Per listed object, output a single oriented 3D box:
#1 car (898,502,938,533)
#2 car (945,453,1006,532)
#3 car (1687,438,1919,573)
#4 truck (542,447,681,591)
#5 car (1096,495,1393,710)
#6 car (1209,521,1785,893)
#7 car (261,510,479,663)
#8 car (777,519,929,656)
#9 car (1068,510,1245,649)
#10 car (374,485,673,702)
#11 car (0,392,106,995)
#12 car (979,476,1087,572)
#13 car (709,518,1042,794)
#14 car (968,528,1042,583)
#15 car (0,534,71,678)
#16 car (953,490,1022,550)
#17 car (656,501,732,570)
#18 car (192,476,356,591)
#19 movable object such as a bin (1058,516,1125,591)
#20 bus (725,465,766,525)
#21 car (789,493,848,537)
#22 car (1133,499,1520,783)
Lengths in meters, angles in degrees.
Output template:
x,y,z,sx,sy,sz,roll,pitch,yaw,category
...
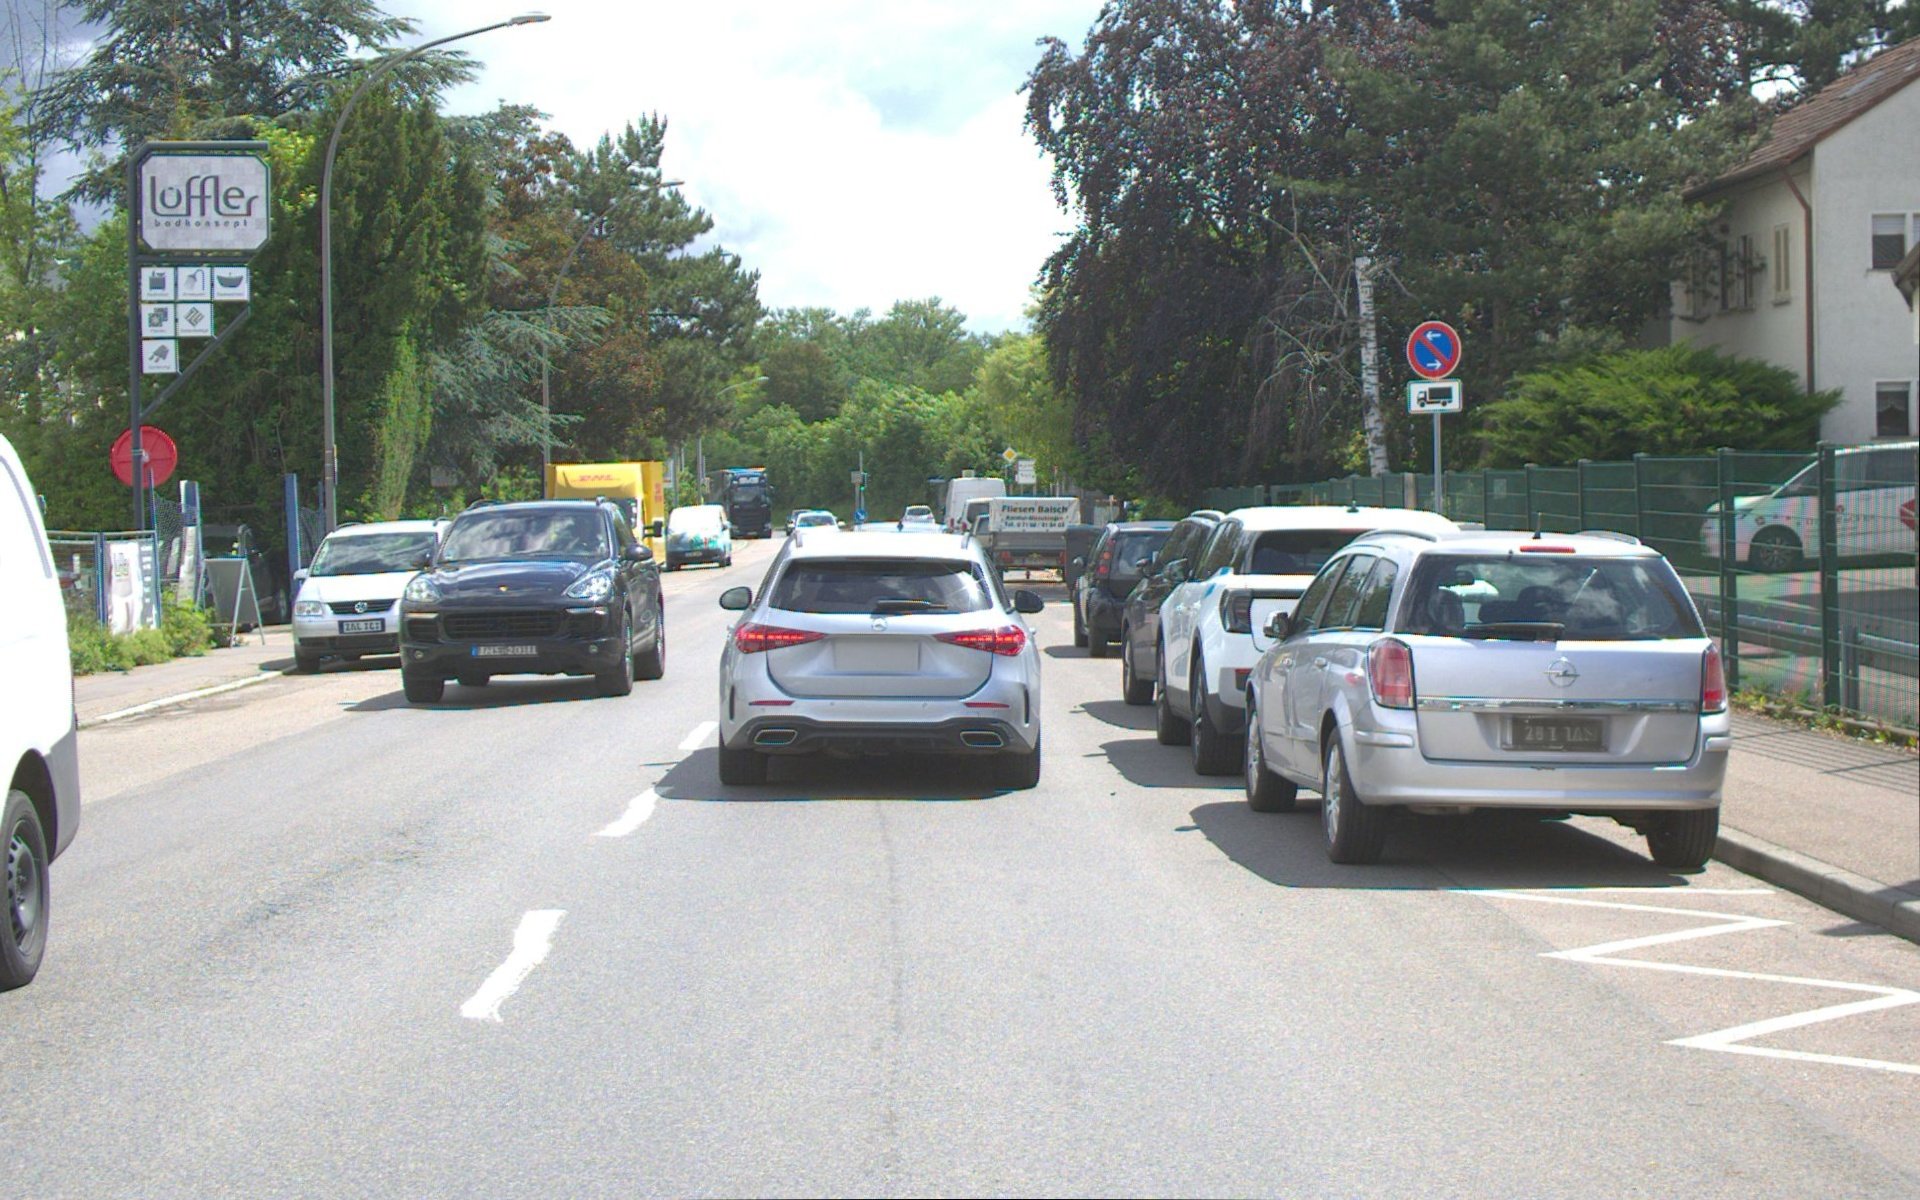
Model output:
x,y,z,sx,sy,sz,roll,pitch,yaw,category
-2.157,-4.224,175.136,1.755,1.552,4.001,-1,2,-4,car
0.494,-3.500,112.670,1.784,2.510,4.317,0,1,-3,car
14.035,-1.512,53.416,5.017,1.922,2.000,-3,1,3,car
-7.253,-1.733,72.166,2.075,2.804,7.078,-2,2,0,truck
2.191,-0.030,27.494,1.689,1.546,4.087,-2,1,-4,car
2.386,0.392,16.402,1.791,1.445,4.364,-2,2,-3,car
-6.744,-0.206,39.720,1.791,1.598,4.364,-2,2,-1,car
-1.347,-0.192,42.230,1.755,1.552,4.001,-1,2,-3,car
2.161,-0.271,38.659,1.689,1.445,3.849,-1,1,-1,car
-3.792,-0.123,30.659,1.993,1.727,4.549,-2,2,0,car
-3.976,0.348,9.581,1.993,1.882,5.118,-2,2,-2,car
1.550,-1.669,75.035,2.144,1.977,5.261,-1,1,-1,car
-0.559,0.265,20.579,1.784,1.479,4.317,0,1,-3,car
1.213,-1.230,95.141,1.784,1.479,4.317,0,1,-3,car
-11.972,0.130,37.035,4.279,1.480,1.991,-1,-2,-2,car
0.784,-2.322,100.289,1.784,1.709,4.317,0,1,-3,car
-7.822,-1.934,101.384,1.934,1.912,4.364,-2,2,-1,car
-10.540,-1.049,53.050,1.993,1.651,4.001,-2,2,-5,car
2.274,-0.817,59.689,1.084,1.266,1.380,1,2,-1,movable object such as a bin
-12.486,-6.084,199.461,1.993,3.352,6.984,1,2,-6,bus
-5.045,-3.042,123.007,1.934,1.487,4.364,-2,2,-1,car
2.206,0.167,21.856,1.791,1.546,4.574,-2,2,-2,car
